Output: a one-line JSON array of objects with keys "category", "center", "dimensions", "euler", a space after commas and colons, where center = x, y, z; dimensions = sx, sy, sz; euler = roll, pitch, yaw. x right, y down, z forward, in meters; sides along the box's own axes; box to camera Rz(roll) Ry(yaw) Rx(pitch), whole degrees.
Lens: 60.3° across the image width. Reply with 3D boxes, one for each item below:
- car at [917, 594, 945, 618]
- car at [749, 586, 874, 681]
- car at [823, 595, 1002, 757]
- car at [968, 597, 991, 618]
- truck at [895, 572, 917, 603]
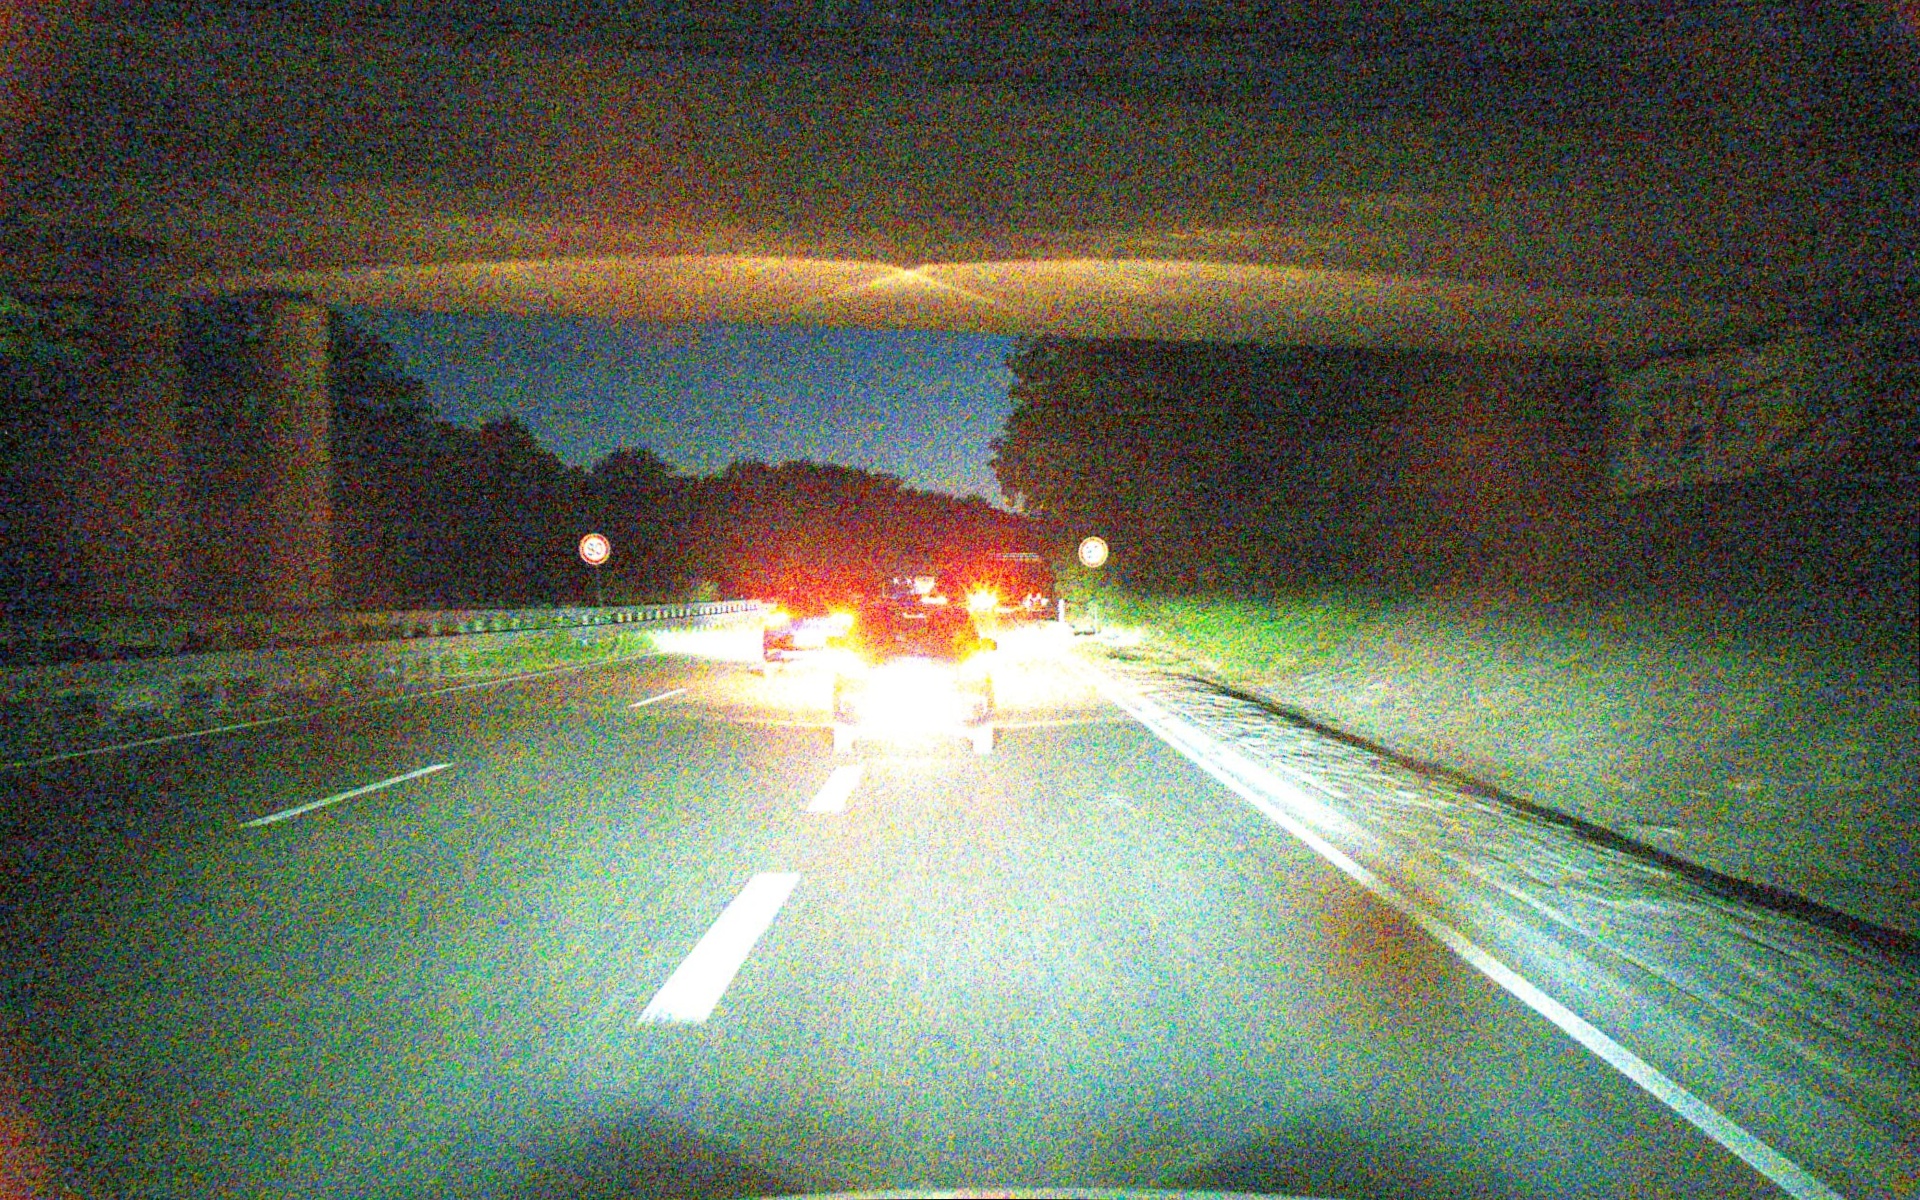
[{"category": "car", "center": [-2.154, 0.472, 124.564], "dimensions": [1.912, 1.565, 4.240], "euler": [-4, -2, 0]}, {"category": "car", "center": [-2.733, 0.570, 31.412], "dimensions": [1.900, 1.636, 4.644], "euler": [1, 0, 0]}, {"category": "car", "center": [-0.569, 0.727, 17.626], "dimensions": [1.658, 1.503, 3.997], "euler": [1, 0, -4]}, {"category": "car", "center": [1.542, 0.580, 130.101], "dimensions": [1.698, 1.646, 3.798], "euler": [0, 0, -1]}, {"category": "truck", "center": [-7.443, -1.749, 227.546], "dimensions": [2.620, 4.250, 5.870], "euler": [0, 0, 2]}]
